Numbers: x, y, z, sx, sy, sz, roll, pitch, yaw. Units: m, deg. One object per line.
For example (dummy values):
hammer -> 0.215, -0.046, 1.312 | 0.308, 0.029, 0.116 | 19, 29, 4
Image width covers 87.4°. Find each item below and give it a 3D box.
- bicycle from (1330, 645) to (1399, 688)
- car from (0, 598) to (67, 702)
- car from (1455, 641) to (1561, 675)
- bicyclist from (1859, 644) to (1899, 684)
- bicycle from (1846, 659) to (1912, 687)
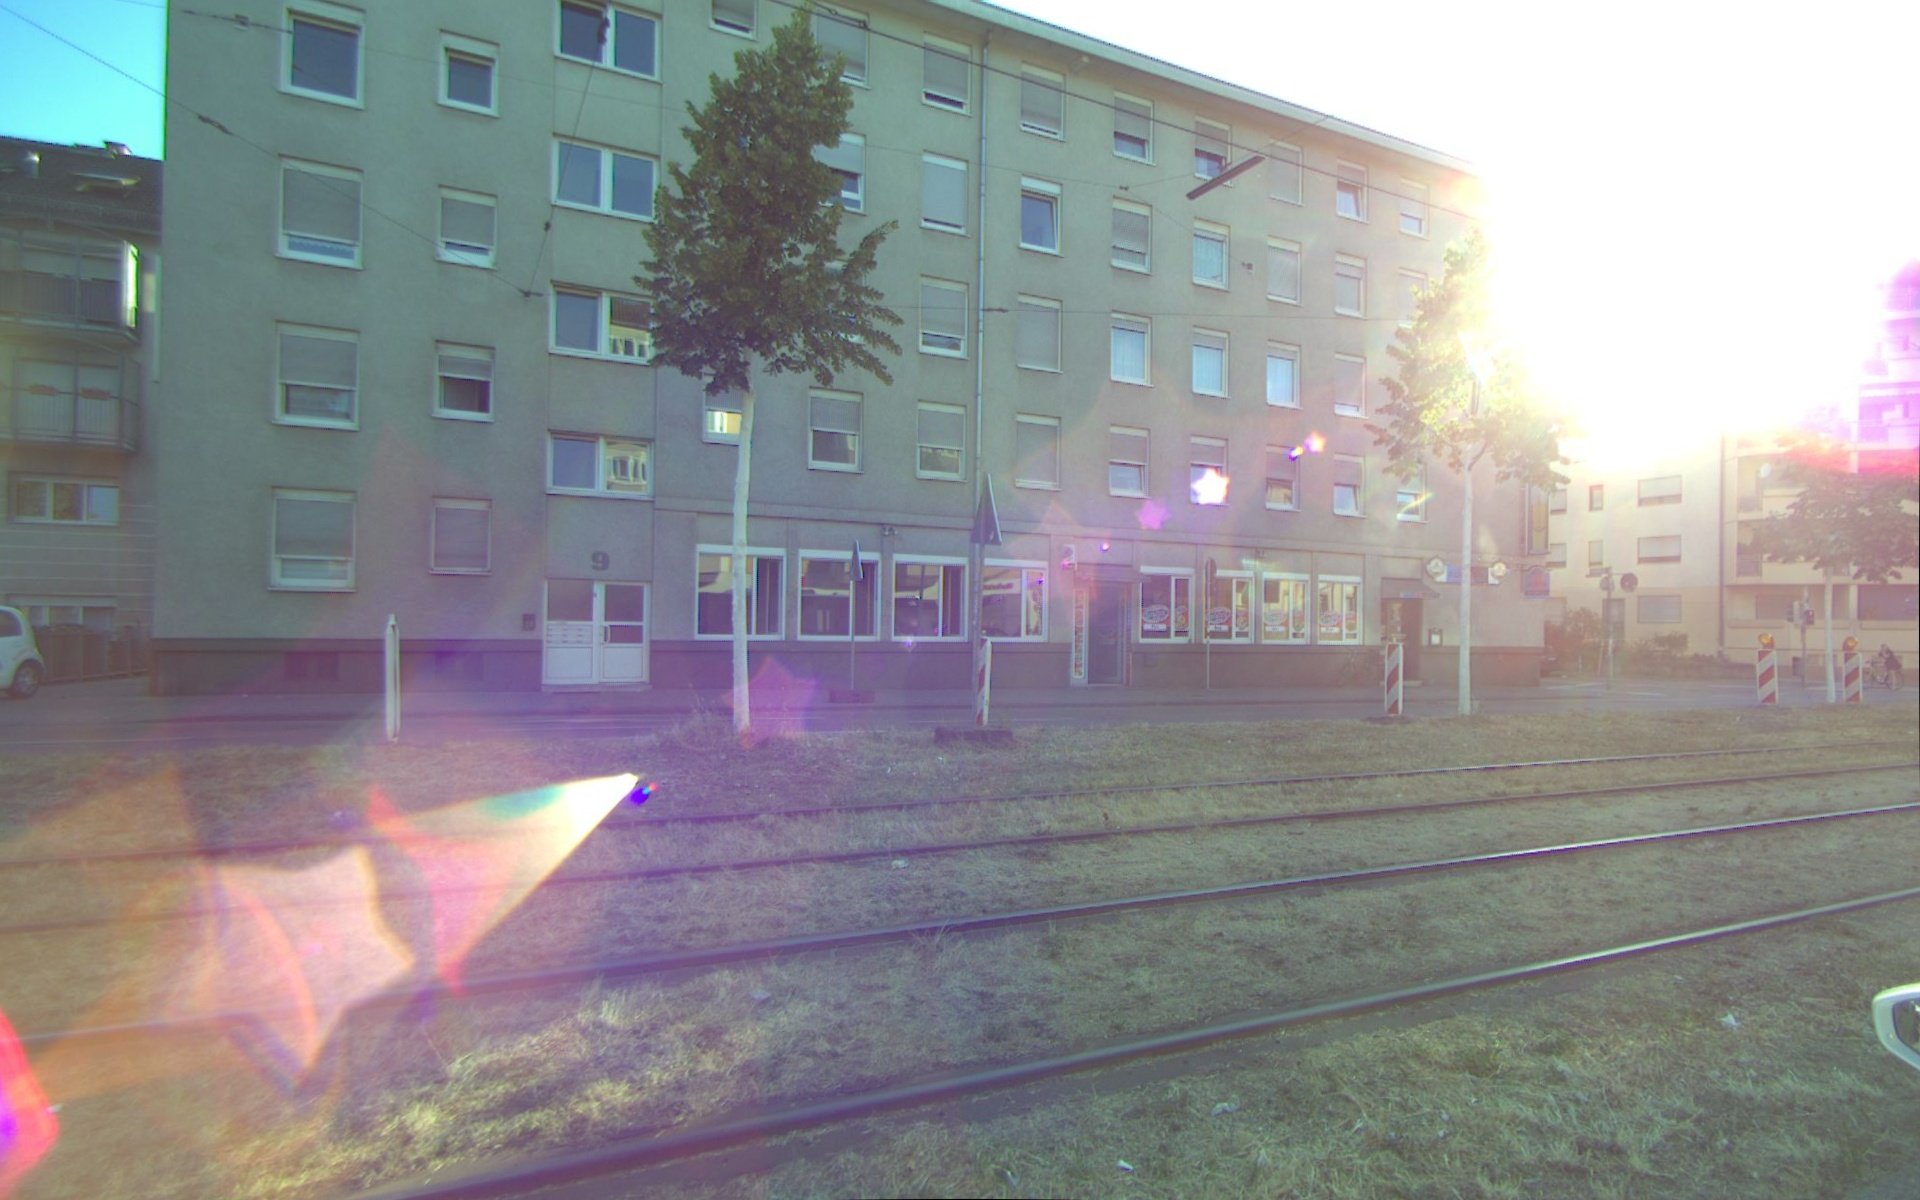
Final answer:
bicycle -> 10.983, 1.799, 27.272 | 1.754, 1.129, 0.744 | 2, -2, -26
car -> -14.839, 0.691, 14.028 | 1.786, 1.532, 3.822 | 1, -2, -11
car -> 24.997, 2.641, 45.936 | 1.773, 1.458, 3.933 | 2, -3, -34
bicyclist -> 33.908, 2.348, 37.074 | 0.946, 1.466, 0.530 | 0, -2, 5
bicycle -> 33.904, 2.681, 37.060 | 1.845, 0.997, 0.530 | 1, -2, 5
